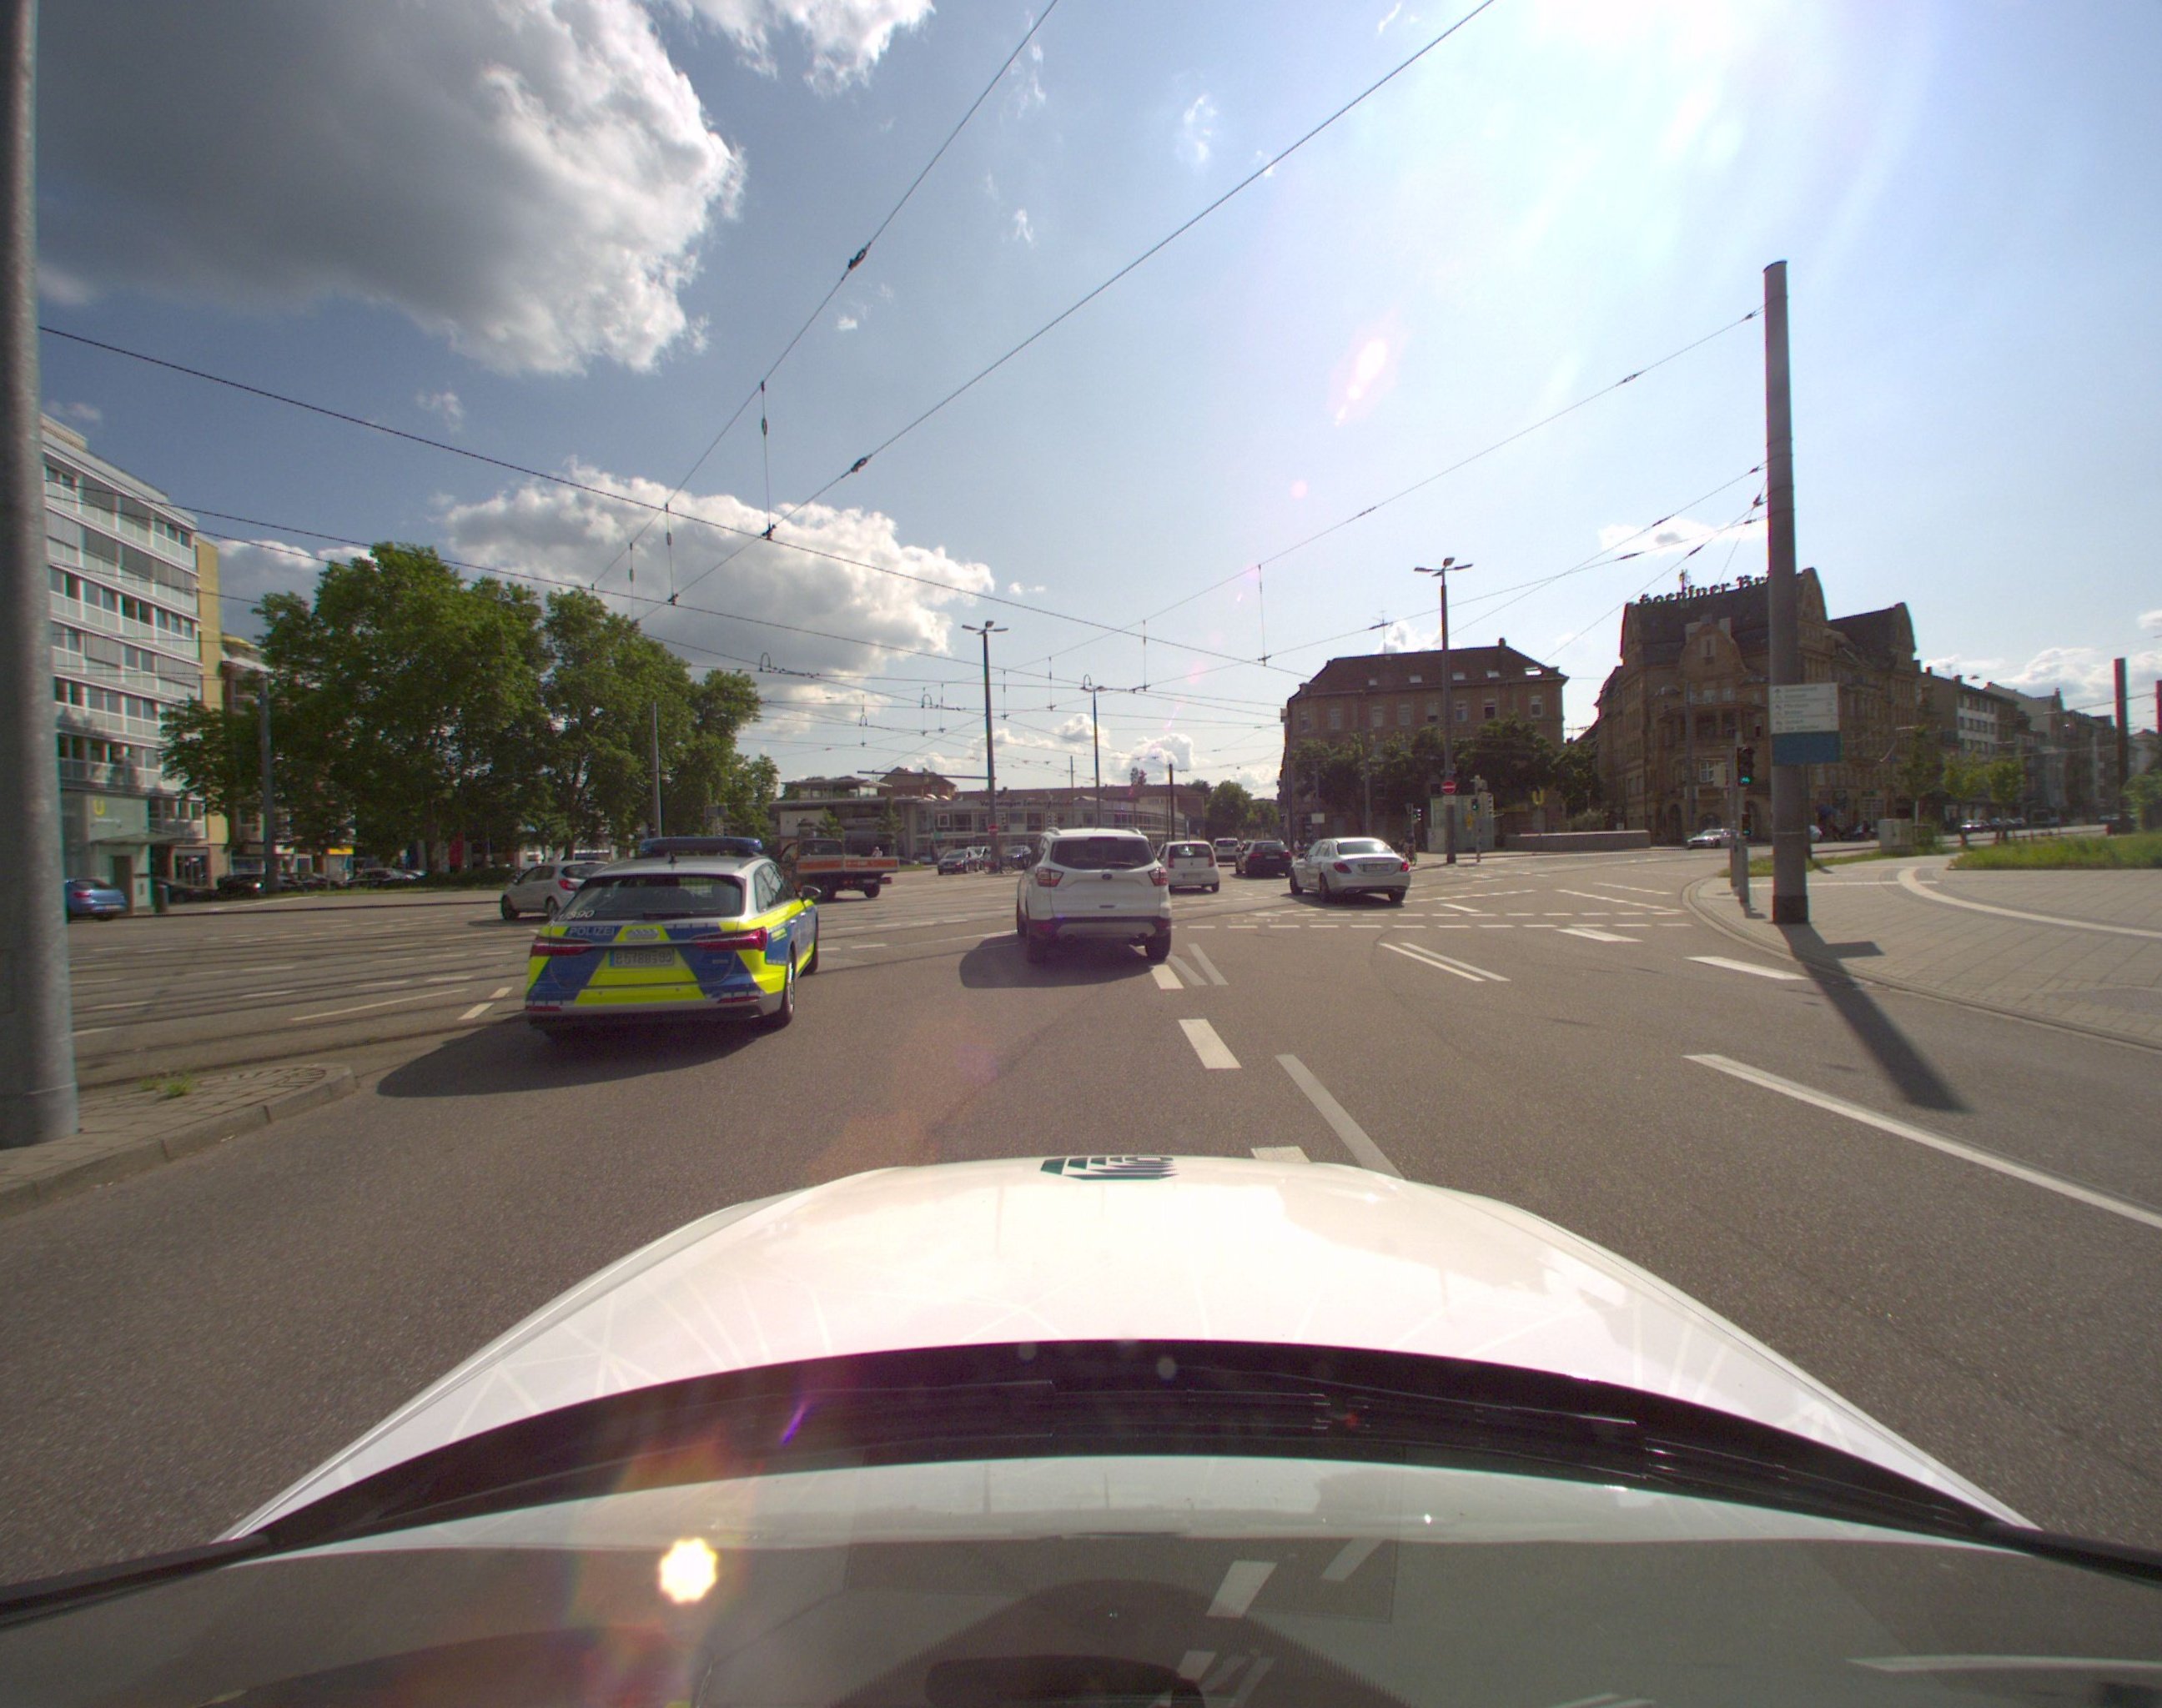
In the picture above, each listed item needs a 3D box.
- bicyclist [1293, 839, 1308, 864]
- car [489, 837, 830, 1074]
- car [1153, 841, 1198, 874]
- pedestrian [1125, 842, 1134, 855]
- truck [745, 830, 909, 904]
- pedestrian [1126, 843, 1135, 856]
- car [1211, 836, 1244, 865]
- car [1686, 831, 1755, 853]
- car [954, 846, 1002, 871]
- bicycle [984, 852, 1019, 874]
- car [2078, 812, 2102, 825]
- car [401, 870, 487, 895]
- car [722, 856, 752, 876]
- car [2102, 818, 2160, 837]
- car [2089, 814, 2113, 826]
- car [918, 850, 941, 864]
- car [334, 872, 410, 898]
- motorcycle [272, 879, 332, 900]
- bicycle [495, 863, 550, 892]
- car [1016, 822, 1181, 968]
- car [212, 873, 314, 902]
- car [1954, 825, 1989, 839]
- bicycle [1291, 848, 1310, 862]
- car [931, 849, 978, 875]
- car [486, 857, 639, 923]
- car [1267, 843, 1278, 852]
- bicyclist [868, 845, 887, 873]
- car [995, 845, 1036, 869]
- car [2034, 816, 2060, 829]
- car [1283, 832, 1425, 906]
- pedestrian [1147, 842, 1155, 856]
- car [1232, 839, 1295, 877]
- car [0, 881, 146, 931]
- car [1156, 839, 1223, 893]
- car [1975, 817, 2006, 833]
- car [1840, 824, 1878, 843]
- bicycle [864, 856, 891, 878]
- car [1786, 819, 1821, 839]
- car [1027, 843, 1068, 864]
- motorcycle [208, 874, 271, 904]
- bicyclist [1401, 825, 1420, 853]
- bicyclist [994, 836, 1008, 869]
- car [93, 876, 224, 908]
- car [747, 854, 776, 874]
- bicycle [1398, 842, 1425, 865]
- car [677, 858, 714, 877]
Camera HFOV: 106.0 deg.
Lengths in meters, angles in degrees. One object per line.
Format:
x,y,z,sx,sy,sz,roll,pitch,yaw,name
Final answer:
12.905,-0.148,47.827,0.607,1.451,0.773,-2,0,-4,bicyclist
-3.597,0.675,7.945,1.882,1.568,4.593,-1,0,-14,car
4.351,0.151,37.903,1.842,1.419,3.682,-1,0,3,car
6.462,-0.749,108.559,0.867,1.737,0.882,0,-1,30,pedestrian
-8.381,0.429,26.570,5.777,2.155,2.361,-2,0,41,truck
6.676,-0.636,109.902,0.867,1.737,0.882,0,-1,30,pedestrian
8.791,-0.200,49.046,1.826,1.652,4.010,-1,0,9,car
46.590,-0.857,59.309,4.545,1.430,2.030,-2,-1,-24,car
-7.154,0.295,56.817,1.724,1.573,4.018,-3,1,17,car
-4.340,0.480,44.471,1.772,1.125,0.640,-1,1,1,bicycle
157.303,-5.509,126.998,4.015,1.816,1.979,-1,0,-33,car
-40.492,1.784,51.824,3.984,1.327,1.629,-3,-1,-8,car
-37.798,1.319,89.560,1.968,1.937,4.216,-3,0,-10,car
83.024,-2.080,64.376,4.007,1.376,1.983,-2,0,-25,car
166.471,-5.560,132.909,4.015,1.816,1.979,-1,0,-33,car
-17.732,0.361,95.505,1.811,1.534,3.919,-4,0,2,car
-42.125,1.819,48.497,1.910,1.413,3.976,-3,-1,-17,car
-40.205,1.820,42.076,0.801,0.917,2.057,-1,2,31,motorcycle
-28.375,1.184,41.420,2.176,1.414,0.807,-1,1,-21,bicycle
0.064,0.460,11.518,1.825,1.663,3.947,-1,0,-6,car
-50.103,2.045,49.978,4.002,1.495,1.790,-2,0,-21,car
94.892,-2.336,86.781,4.015,1.420,1.875,-1,0,-33,car
12.877,0.075,47.848,0.583,0.775,1.619,-2,0,-4,bicycle
-7.519,0.433,48.776,1.727,1.373,3.650,-3,1,8,car
-13.347,0.888,20.895,3.948,1.474,1.866,-2,1,34,car
33.402,-1.127,142.056,1.823,1.652,4.016,-1,0,14,car
-12.206,0.295,48.852,0.755,1.683,0.762,-3,0,9,bicyclist
-4.478,0.173,56.367,1.677,1.461,3.982,-3,1,12,car
142.543,-4.606,120.169,4.015,1.816,1.979,-1,0,-33,car
6.355,0.248,19.560,1.923,1.455,4.761,-1,2,1,car
9.809,-0.721,114.486,0.867,1.922,0.881,0,-1,27,pedestrian
7.122,0.131,32.168,1.692,1.372,4.135,-2,0,2,car
-32.317,1.612,25.271,3.996,1.376,1.732,-1,0,-17,car
3.200,0.310,24.649,1.643,1.422,4.003,-2,1,3,car
110.665,-3.560,99.082,4.015,1.816,1.979,-1,0,-33,car
72.119,-1.882,75.485,3.941,1.682,1.703,-1,0,-33,car
-12.184,0.772,48.879,0.755,1.192,2.156,-3,0,9,bicycle
56.719,-1.952,64.006,1.966,1.484,4.025,-2,0,41,car
-2.538,-0.077,63.012,1.884,1.461,3.986,-3,0,17,car
-38.632,1.611,37.383,2.196,1.238,0.909,-2,1,12,motorcycle
15.069,-0.677,37.245,0.630,1.220,0.927,-2,1,14,bicyclist
-4.360,-0.081,44.497,0.657,1.738,0.640,-1,1,2,bicyclist
-46.122,1.887,40.826,4.002,1.398,1.660,-2,-1,-22,car
-35.138,1.141,89.589,1.994,2.013,4.216,-3,0,-10,car
15.037,-0.033,37.090,0.840,0.970,1.969,-3,0,15,bicycle
-42.508,1.521,89.912,1.965,1.937,5.057,-3,0,-6,car
